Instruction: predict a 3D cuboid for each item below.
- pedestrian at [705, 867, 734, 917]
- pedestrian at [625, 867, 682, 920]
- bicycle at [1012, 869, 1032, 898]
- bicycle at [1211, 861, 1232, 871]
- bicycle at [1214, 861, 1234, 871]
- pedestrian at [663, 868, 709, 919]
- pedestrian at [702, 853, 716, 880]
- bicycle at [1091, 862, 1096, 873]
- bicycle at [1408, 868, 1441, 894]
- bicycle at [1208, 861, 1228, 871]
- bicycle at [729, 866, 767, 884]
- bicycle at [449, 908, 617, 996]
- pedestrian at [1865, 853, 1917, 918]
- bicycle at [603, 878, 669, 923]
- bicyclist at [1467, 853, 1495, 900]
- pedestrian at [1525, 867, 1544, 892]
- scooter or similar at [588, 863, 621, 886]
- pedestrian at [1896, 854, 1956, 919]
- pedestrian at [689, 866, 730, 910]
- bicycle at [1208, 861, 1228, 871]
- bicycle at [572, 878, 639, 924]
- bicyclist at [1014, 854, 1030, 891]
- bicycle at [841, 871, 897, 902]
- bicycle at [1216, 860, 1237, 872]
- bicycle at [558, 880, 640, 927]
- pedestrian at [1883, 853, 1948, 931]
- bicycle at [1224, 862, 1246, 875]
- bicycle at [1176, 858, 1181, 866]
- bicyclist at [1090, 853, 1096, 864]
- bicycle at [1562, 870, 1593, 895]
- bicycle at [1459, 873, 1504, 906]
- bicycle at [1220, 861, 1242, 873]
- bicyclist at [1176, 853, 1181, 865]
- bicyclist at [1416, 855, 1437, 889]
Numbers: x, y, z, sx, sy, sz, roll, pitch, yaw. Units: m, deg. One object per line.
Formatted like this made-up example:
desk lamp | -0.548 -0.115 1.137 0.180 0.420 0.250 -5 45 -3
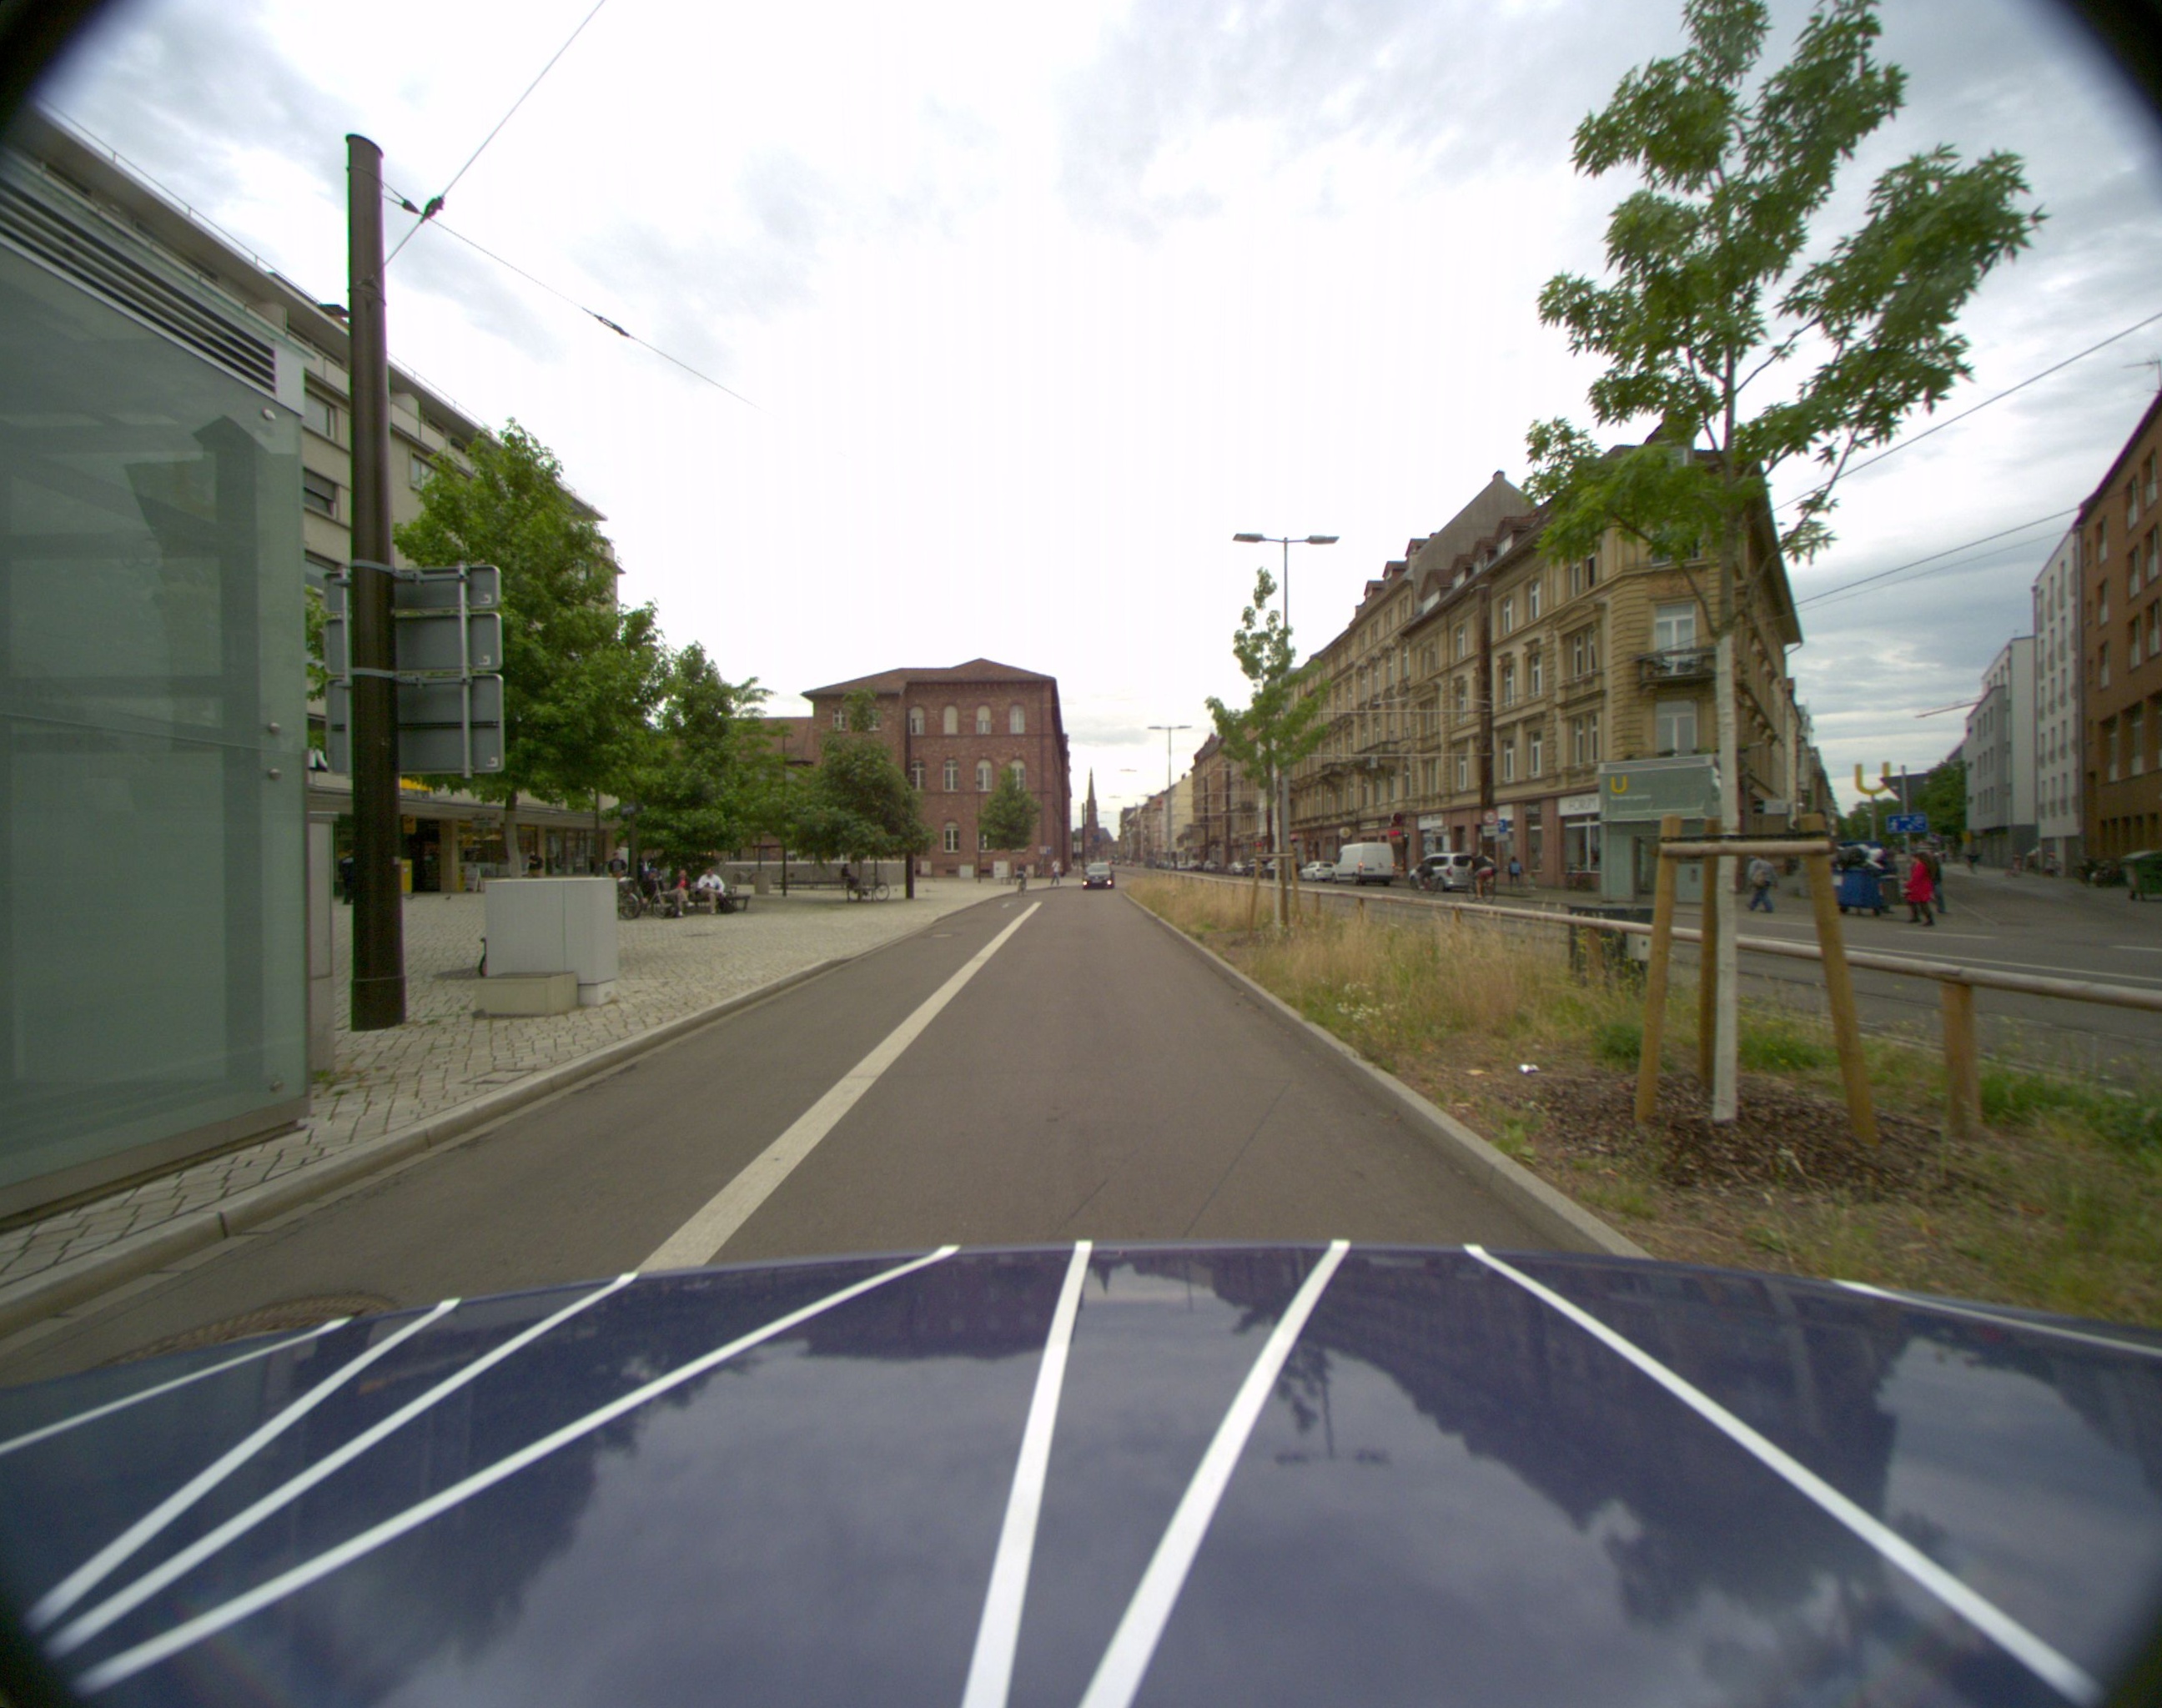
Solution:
pedestrian | -10.143 1.062 21.333 0.630 1.358 0.686 -2 0 -19
pedestrian | -11.699 1.061 20.832 0.543 1.358 1.282 -2 0 18
bicycle | -2.706 1.328 34.982 0.524 1.253 1.942 0 0 7
bicycle | 17.012 1.479 92.047 2.288 1.196 0.705 1 0 0
bicycle | 17.058 1.450 90.556 2.288 1.196 0.666 1 0 0
pedestrian | -10.884 1.079 20.954 0.628 1.358 0.920 -2 0 17
pedestrian | -24.928 0.831 50.916 0.664 1.747 0.631 -2 0 -9
bicycle | 1.297 1.396 79.365 0.472 1.151 2.273 0 0 0
bicycle | 14.265 1.125 31.569 0.480 1.015 1.912 0 0 -1
bicycle | 16.785 1.508 93.346 2.288 1.196 0.705 1 0 0
bicycle | -20.144 1.249 45.991 2.029 1.058 0.470 1 0 -1
bicycle | -7.486 1.295 10.474 0.658 0.972 1.758 0 0 29
pedestrian | 21.773 0.831 20.439 0.661 1.677 0.723 0 2 15
bicycle | -11.601 1.191 19.813 1.602 1.104 0.478 1 0 15
bicyclist | 13.275 0.729 25.240 0.492 1.531 0.812 0 0 -1
pedestrian | 19.465 1.089 32.641 0.554 1.025 0.453 -2 0 8
scooter or similar | -25.336 1.077 40.426 0.500 1.197 1.439 2 1 24
pedestrian | 22.471 0.843 20.225 0.661 1.677 0.924 0 2 15
pedestrian | -12.057 1.095 24.688 0.629 1.358 1.409 -2 0 -1
bicycle | 16.928 1.518 94.031 2.288 1.196 0.547 -1 0 0
bicycle | -12.184 1.196 19.454 1.602 1.104 0.478 1 0 15
bicyclist | -2.704 0.859 34.998 0.570 1.674 0.794 -1 0 7
bicycle | -8.121 1.250 29.137 1.917 1.116 0.645 -2 0 11
bicycle | 17.063 1.404 89.303 2.288 1.321 0.666 1 0 0
bicycle | -11.970 1.215 18.871 2.037 1.104 0.478 1 0 16
pedestrian | 18.562 0.822 16.903 0.723 1.677 0.661 -1 2 -10
bicycle | 16.828 1.602 83.021 2.288 1.321 0.666 1 0 0
bicycle | 15.062 1.178 117.282 0.586 1.167 2.045 1 0 2
bicyclist | 1.277 0.508 79.431 0.587 1.164 0.662 0 0 -1
bicycle | 20.406 1.145 31.264 0.340 0.953 1.688 -2 0 7
bicycle | 13.298 1.161 25.281 0.477 1.015 1.912 0 0 -1
bicycle | 16.873 1.435 85.651 2.288 1.321 0.666 1 0 0
bicyclist | 15.043 0.811 117.424 0.647 1.872 1.028 -2 0 2
bicyclist | 14.272 0.735 31.387 0.480 1.398 0.812 0 0 -1
